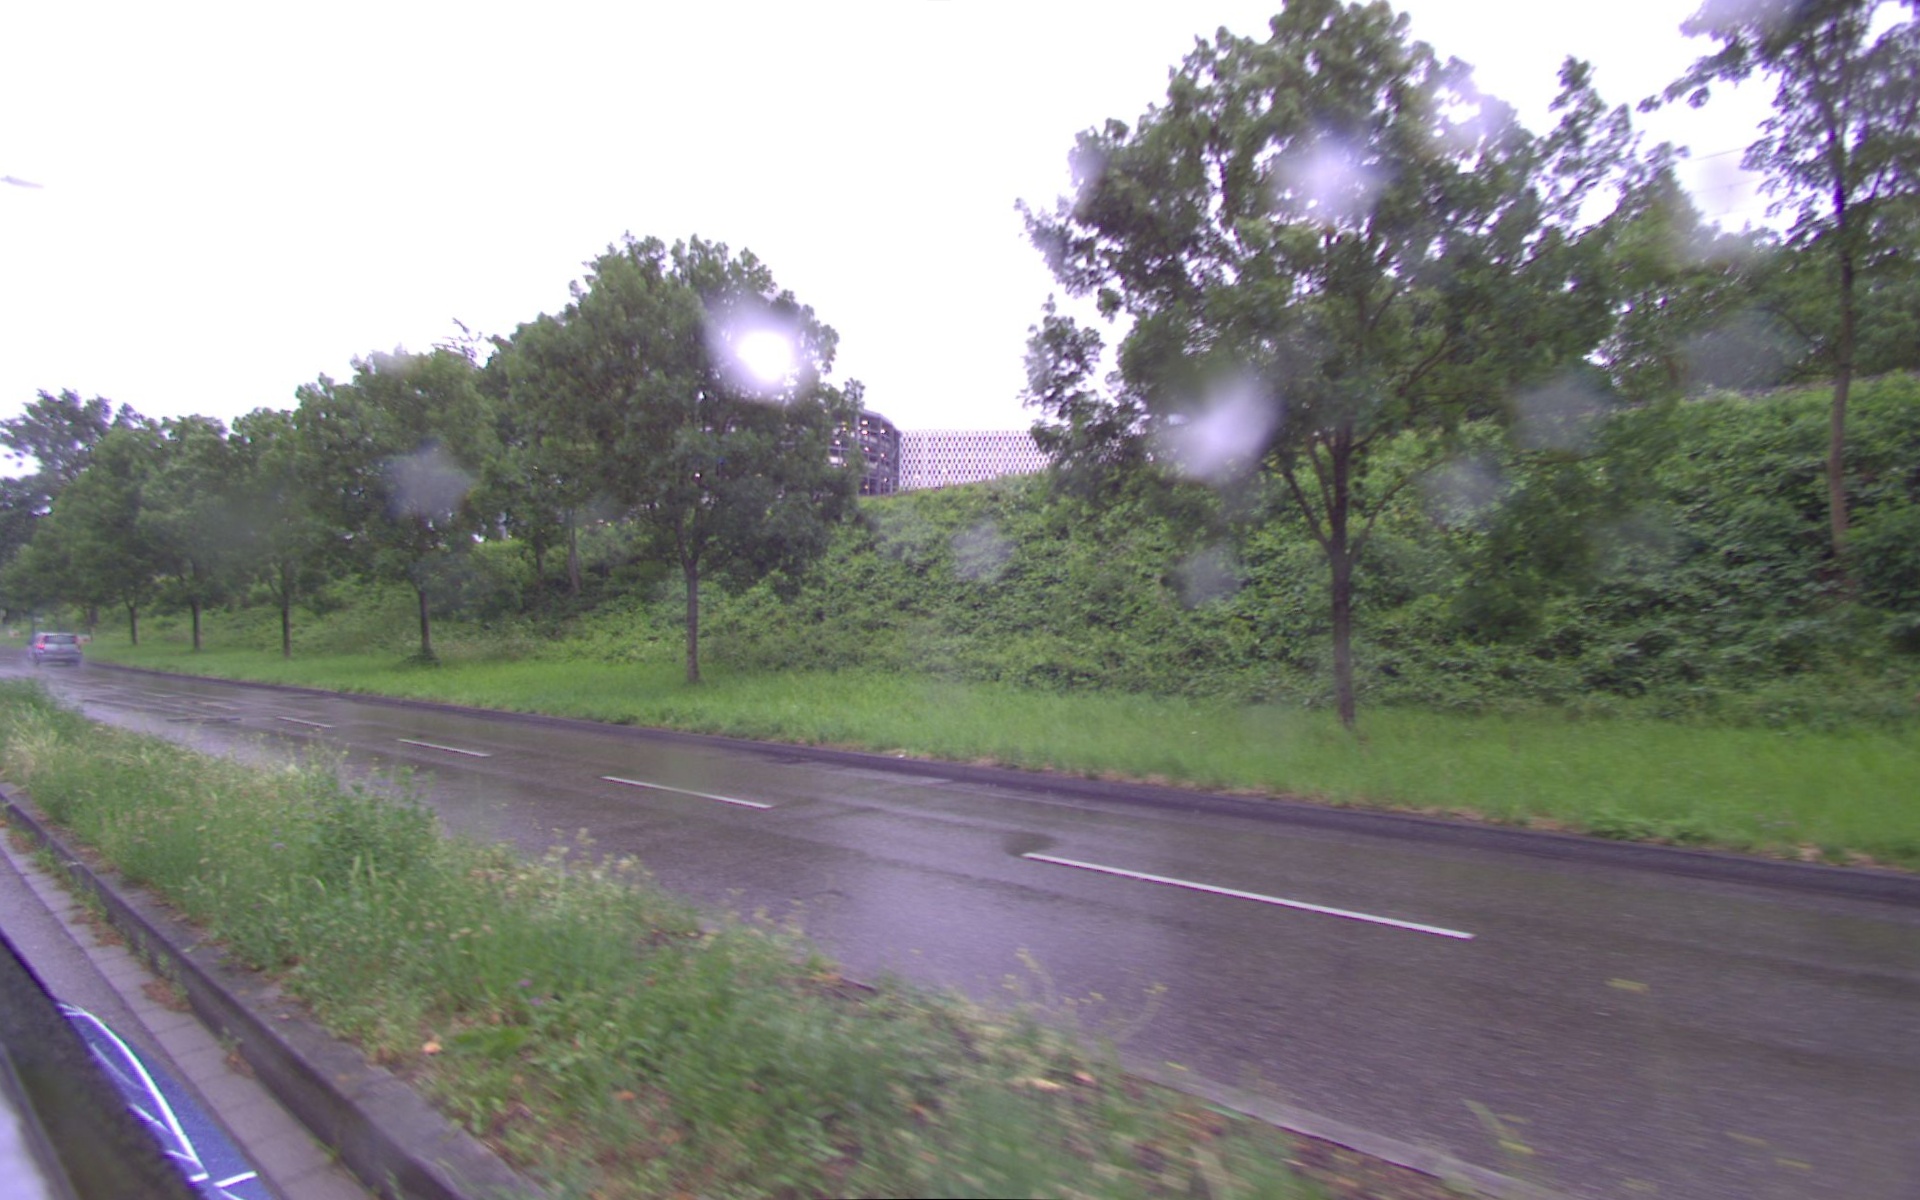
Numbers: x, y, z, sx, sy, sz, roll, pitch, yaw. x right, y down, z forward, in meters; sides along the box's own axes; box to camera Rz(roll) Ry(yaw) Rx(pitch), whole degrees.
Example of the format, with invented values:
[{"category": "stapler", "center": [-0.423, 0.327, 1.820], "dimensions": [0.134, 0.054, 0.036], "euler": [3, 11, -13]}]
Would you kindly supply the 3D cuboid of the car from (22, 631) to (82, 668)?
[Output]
[{"category": "car", "center": [-42.578, 2.276, 47.456], "dimensions": [3.846, 1.630, 1.678], "euler": [-1, -2, 42]}]
